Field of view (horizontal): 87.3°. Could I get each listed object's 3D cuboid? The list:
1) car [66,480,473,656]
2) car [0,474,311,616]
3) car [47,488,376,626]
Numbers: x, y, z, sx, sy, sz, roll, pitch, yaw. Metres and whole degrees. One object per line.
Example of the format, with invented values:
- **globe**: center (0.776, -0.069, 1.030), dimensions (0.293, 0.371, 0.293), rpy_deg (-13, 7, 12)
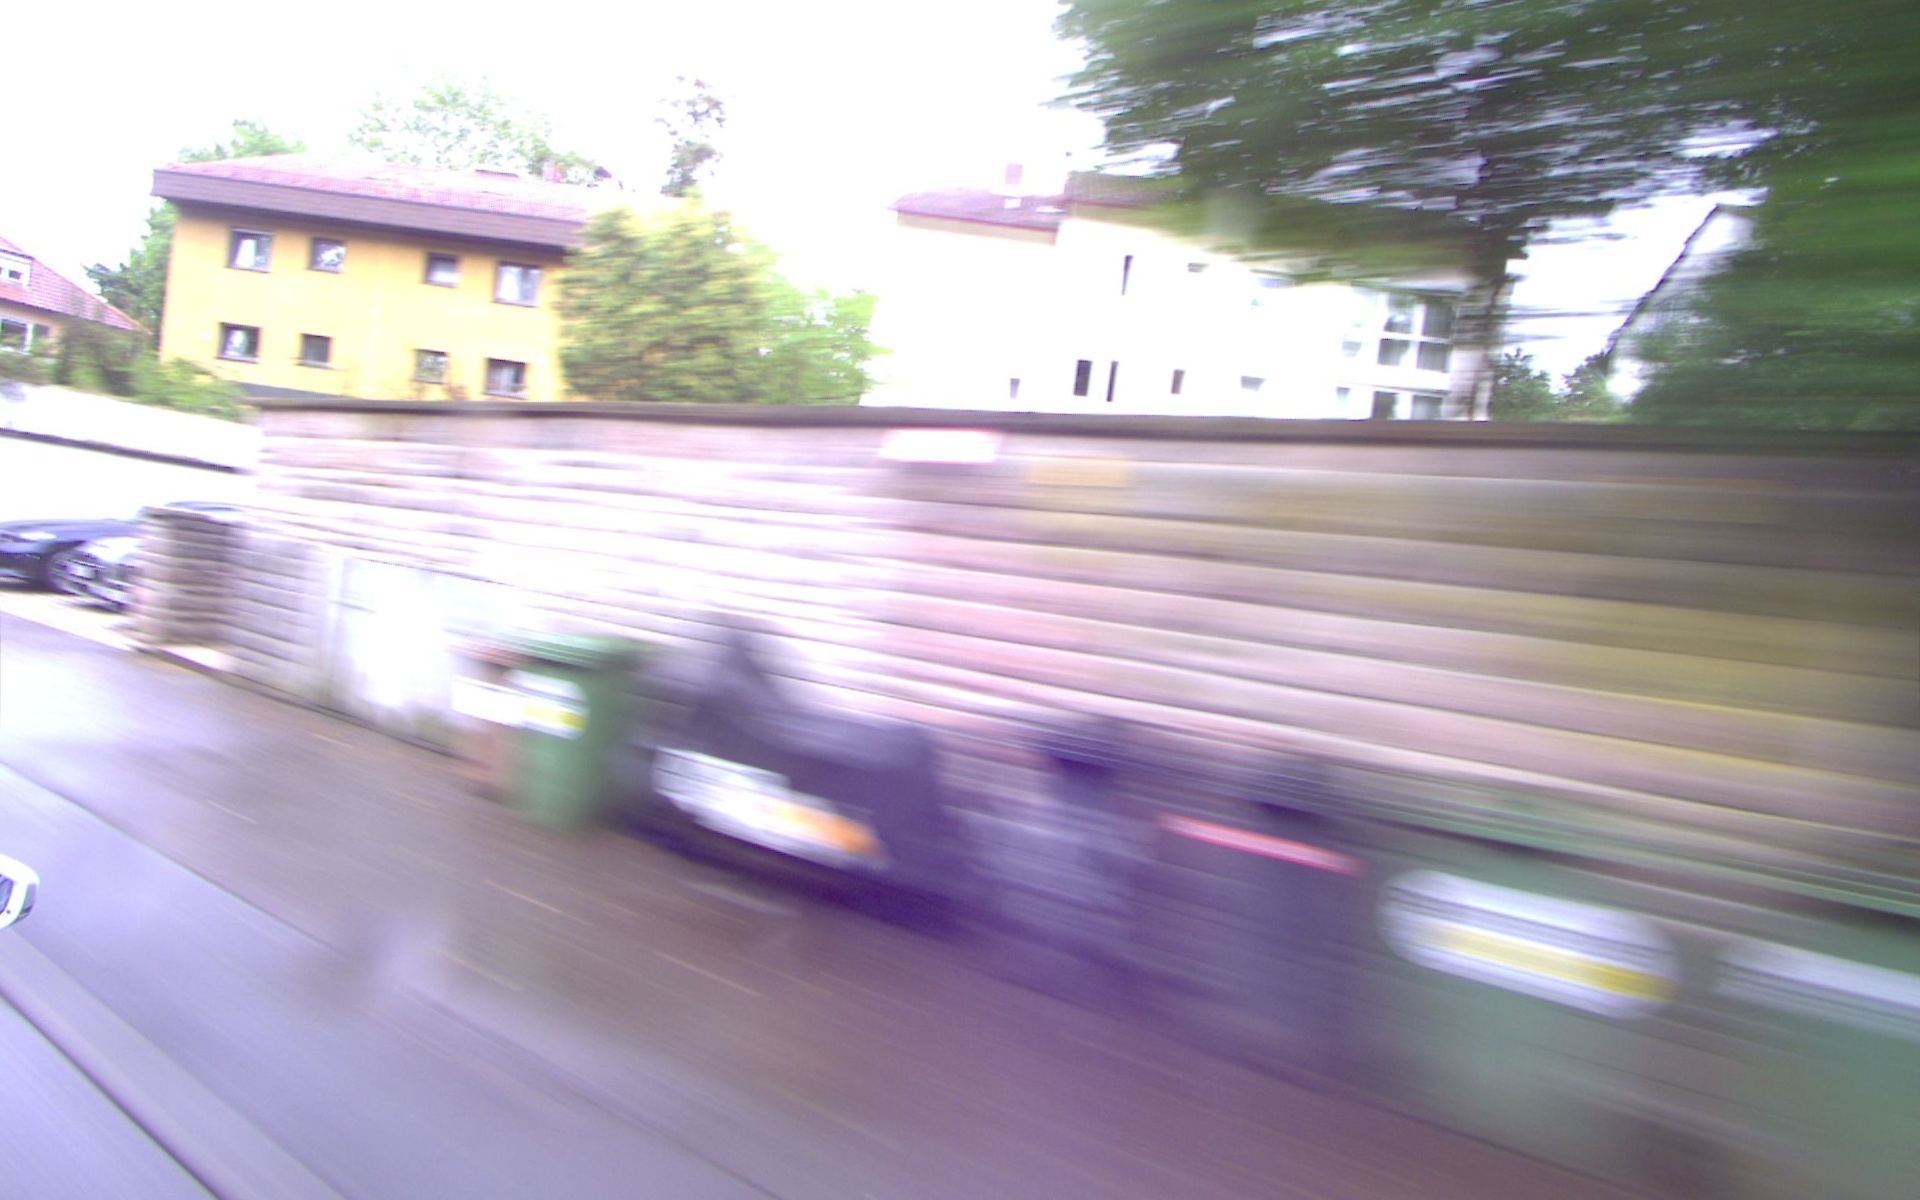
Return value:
- **car**: center (-8.424, -0.297, 12.617), dimensions (1.672, 1.648, 3.737), rpy_deg (7, -2, 31)
- **car**: center (-12.333, -0.768, 15.237), dimensions (1.582, 1.571, 3.777), rpy_deg (7, -2, 31)
- **car**: center (-10.346, -0.532, 14.117), dimensions (1.550, 1.499, 3.287), rpy_deg (8, 1, 31)
